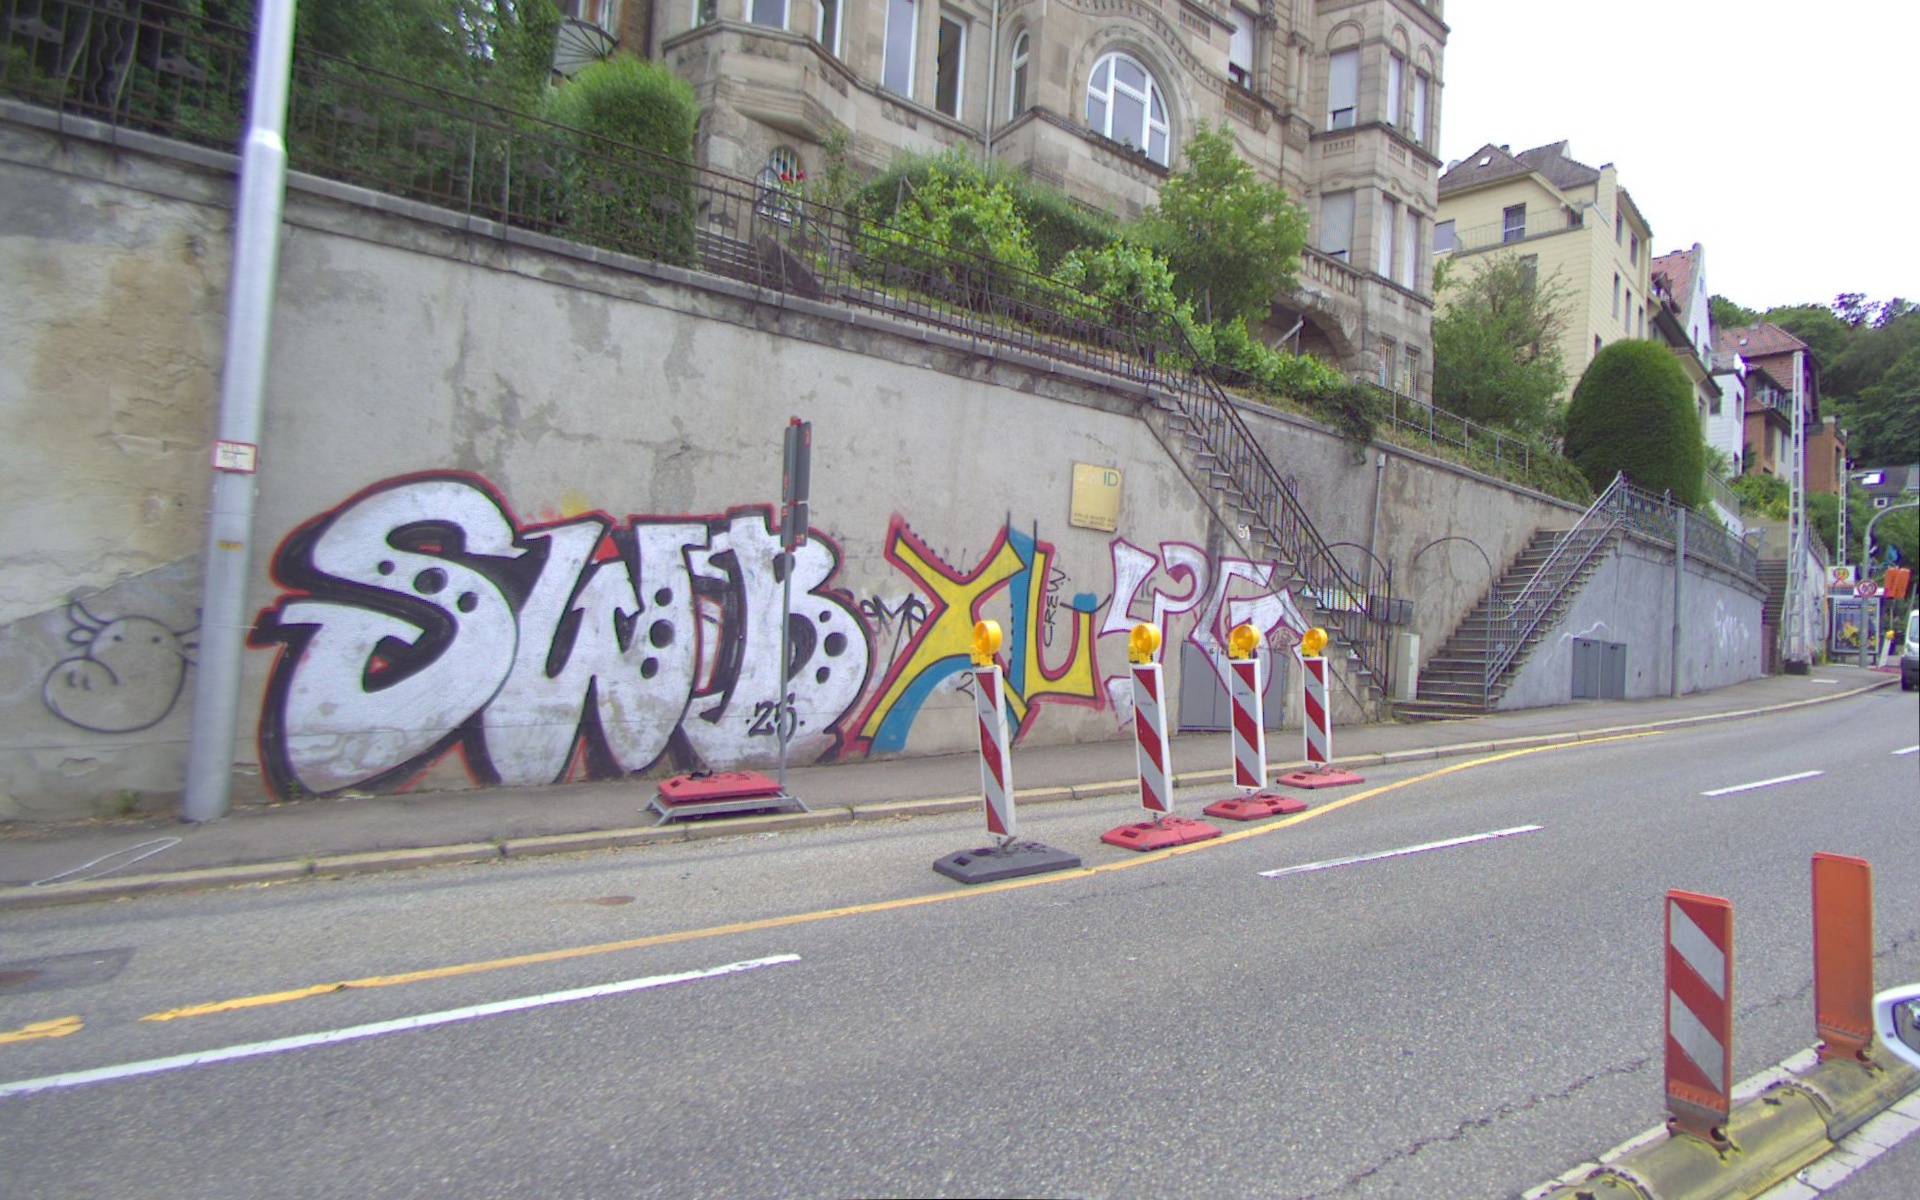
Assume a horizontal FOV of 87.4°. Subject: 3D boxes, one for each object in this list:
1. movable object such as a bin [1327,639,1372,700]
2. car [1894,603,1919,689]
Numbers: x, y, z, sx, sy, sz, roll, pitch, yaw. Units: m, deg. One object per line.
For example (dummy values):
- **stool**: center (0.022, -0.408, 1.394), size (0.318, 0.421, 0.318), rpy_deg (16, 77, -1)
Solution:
- **movable object such as a bin**: center (6.157, 1.091, 15.892), size (0.502, 0.923, 0.451), rpy_deg (1, 0, -33)
- **car**: center (27.036, 1.203, 27.103), size (4.921, 2.216, 2.050), rpy_deg (1, -2, -40)
